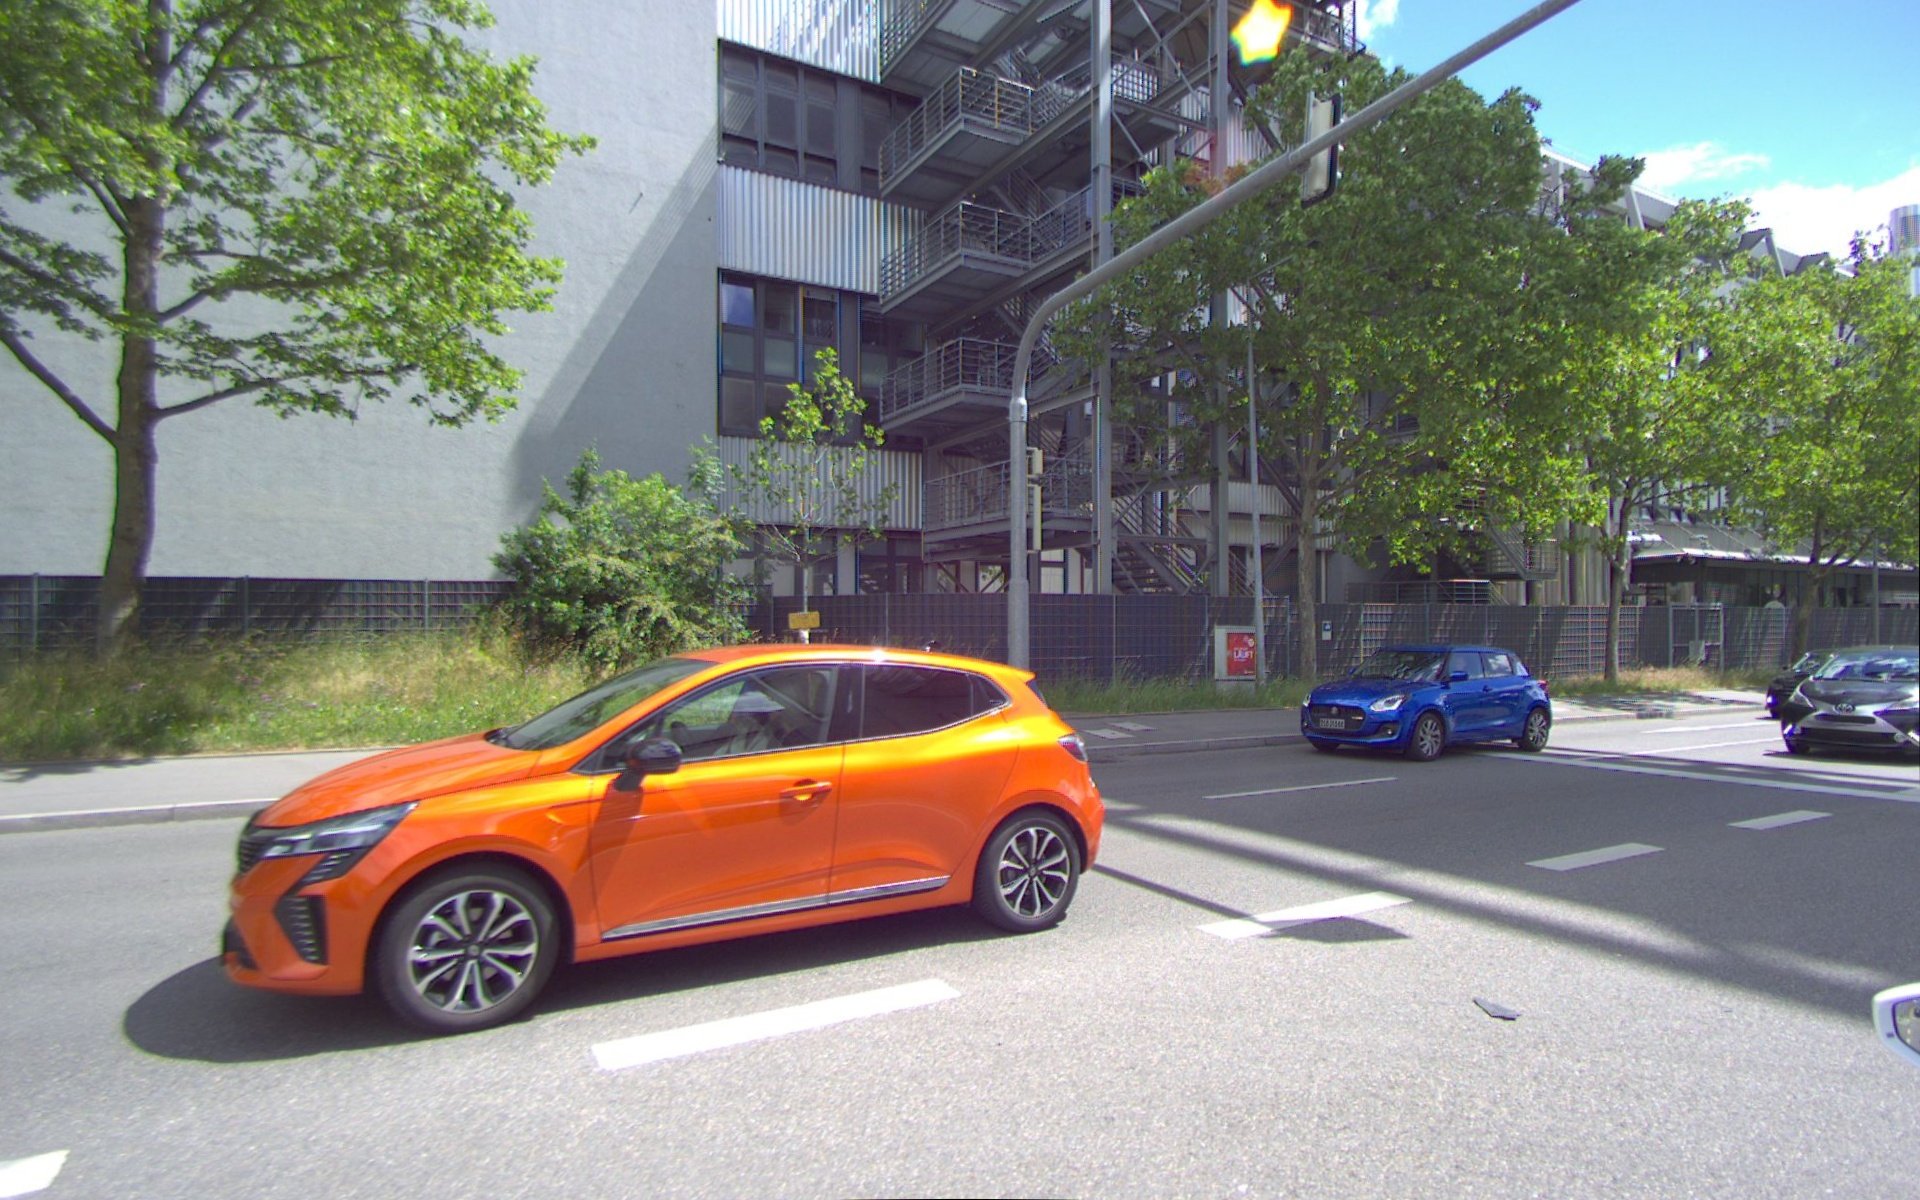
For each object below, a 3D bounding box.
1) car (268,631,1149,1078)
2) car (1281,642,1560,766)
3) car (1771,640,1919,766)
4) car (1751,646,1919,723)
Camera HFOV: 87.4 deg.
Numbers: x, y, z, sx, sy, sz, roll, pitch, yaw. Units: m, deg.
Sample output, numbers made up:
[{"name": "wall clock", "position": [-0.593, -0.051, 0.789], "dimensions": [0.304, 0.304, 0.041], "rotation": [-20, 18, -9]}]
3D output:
[{"name": "car", "position": [-1.111, 0.936, 5.161], "dimensions": [3.859, 1.473, 1.875], "rotation": [2, -3, -31]}, {"name": "car", "position": [6.388, 1.325, 13.853], "dimensions": [3.778, 1.448, 1.684], "rotation": [1, -2, -31]}, {"name": "car", "position": [12.795, 1.316, 13.659], "dimensions": [3.570, 1.524, 1.551], "rotation": [2, -3, -30]}, {"name": "car", "position": [18.046, 1.666, 20.596], "dimensions": [3.875, 1.447, 1.569], "rotation": [2, -3, -31]}]
